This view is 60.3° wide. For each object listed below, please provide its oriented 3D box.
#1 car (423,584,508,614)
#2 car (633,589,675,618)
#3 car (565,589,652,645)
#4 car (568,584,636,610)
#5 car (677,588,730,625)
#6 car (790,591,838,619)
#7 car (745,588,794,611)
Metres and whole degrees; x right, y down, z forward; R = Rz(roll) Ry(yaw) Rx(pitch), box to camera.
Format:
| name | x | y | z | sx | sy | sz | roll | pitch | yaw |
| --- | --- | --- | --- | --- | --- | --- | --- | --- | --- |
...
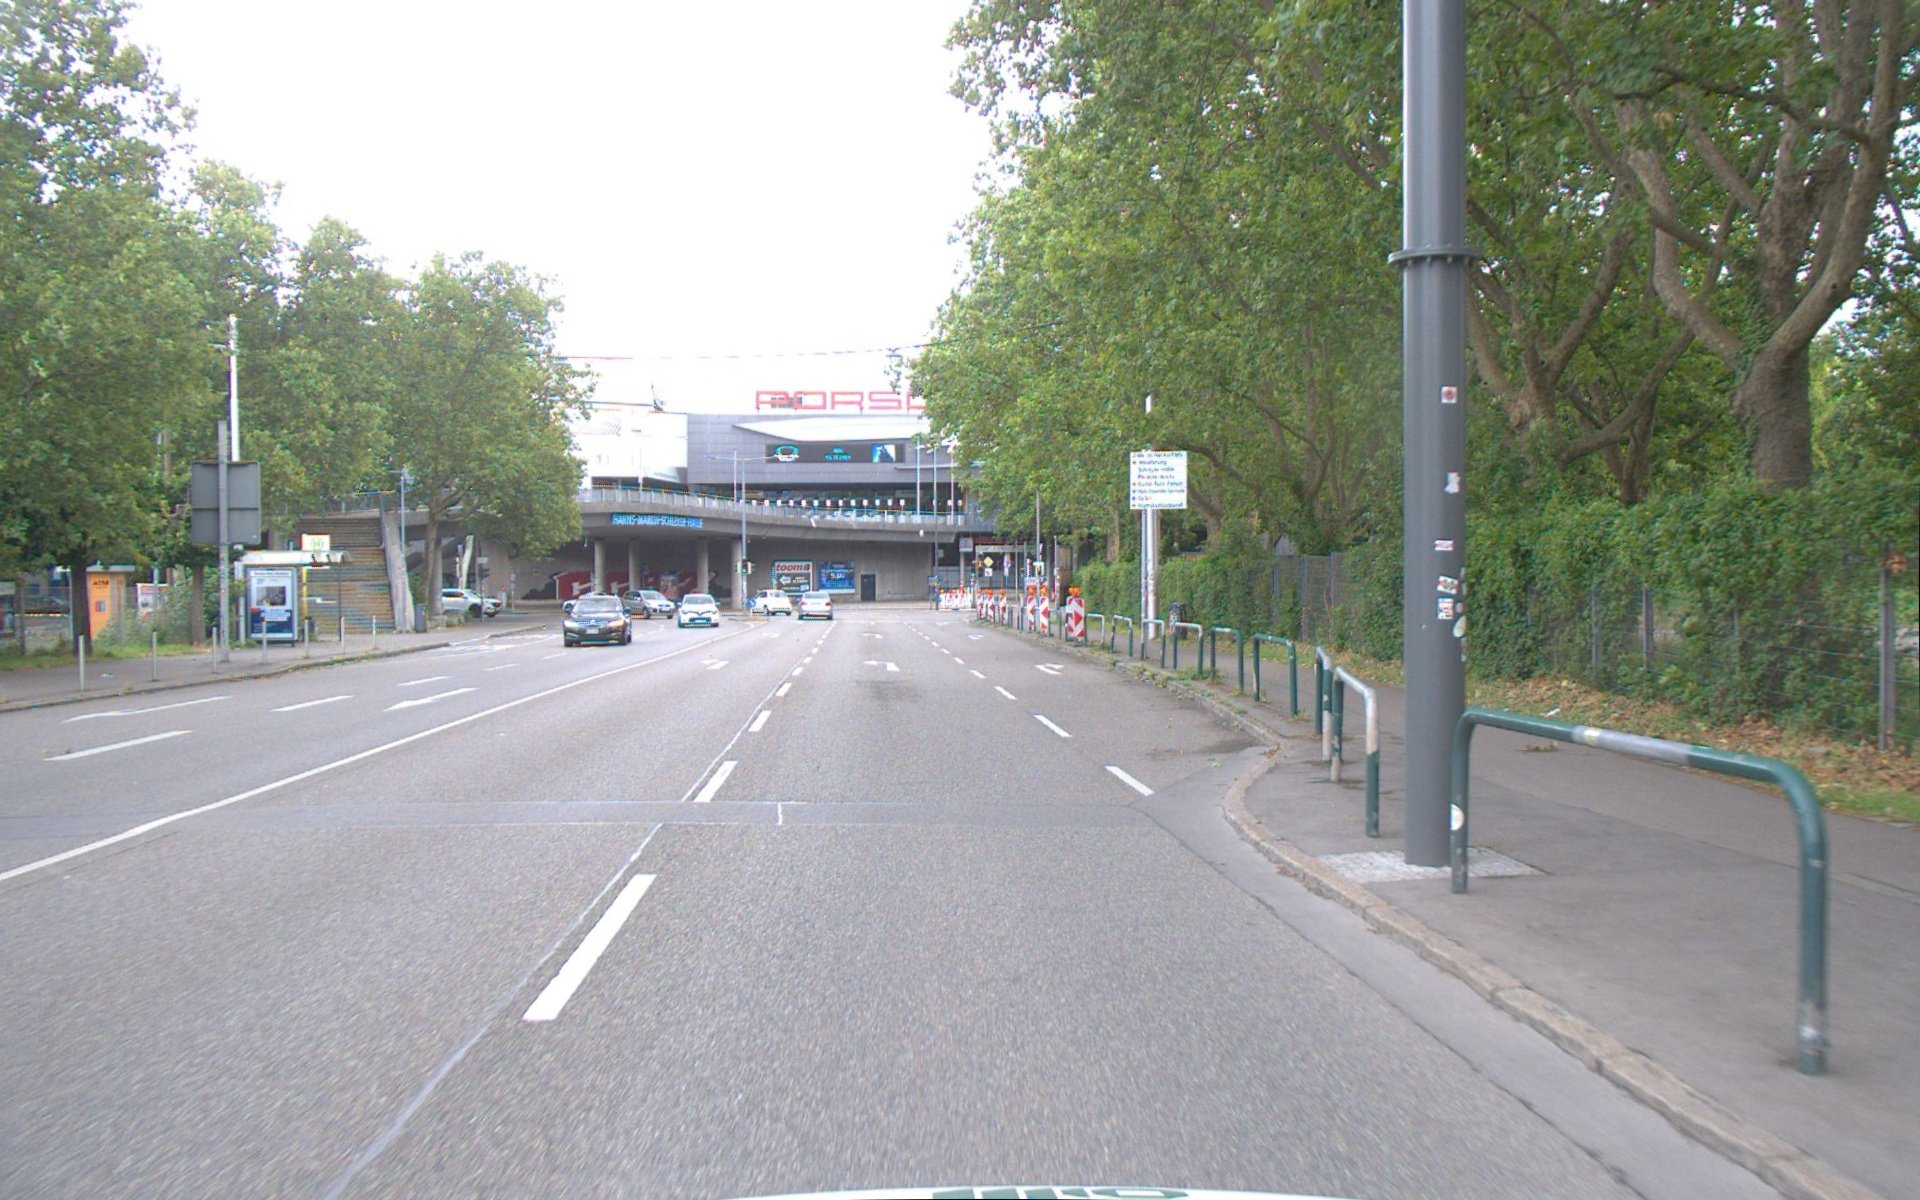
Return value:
| name | x | y | z | sx | sy | sz | roll | pitch | yaw |
| --- | --- | --- | --- | --- | --- | --- | --- | --- | --- |
| car | -29.430 | -0.068 | 98.527 | 4.483 | 1.775 | 2.002 | 0 | 0 | 15 |
| car | -16.811 | 0.155 | 91.014 | 1.955 | 1.552 | 3.995 | 0 | 0 | -6 |
| car | -10.573 | 0.473 | 50.041 | 1.954 | 1.557 | 4.721 | -1 | 1 | -5 |
| car | -23.514 | -0.201 | 108.669 | 3.902 | 1.689 | 2.002 | 0 | 0 | 11 |
| car | -11.445 | 0.282 | 74.008 | 1.954 | 1.557 | 4.381 | -1 | 1 | -5 |
| car | -7.734 | 0.262 | 87.244 | 1.959 | 1.443 | 3.986 | 0 | 0 | -13 |
| car | -11.365 | -0.048 | 98.725 | 1.596 | 1.336 | 3.356 | 0 | 0 | -33 |
